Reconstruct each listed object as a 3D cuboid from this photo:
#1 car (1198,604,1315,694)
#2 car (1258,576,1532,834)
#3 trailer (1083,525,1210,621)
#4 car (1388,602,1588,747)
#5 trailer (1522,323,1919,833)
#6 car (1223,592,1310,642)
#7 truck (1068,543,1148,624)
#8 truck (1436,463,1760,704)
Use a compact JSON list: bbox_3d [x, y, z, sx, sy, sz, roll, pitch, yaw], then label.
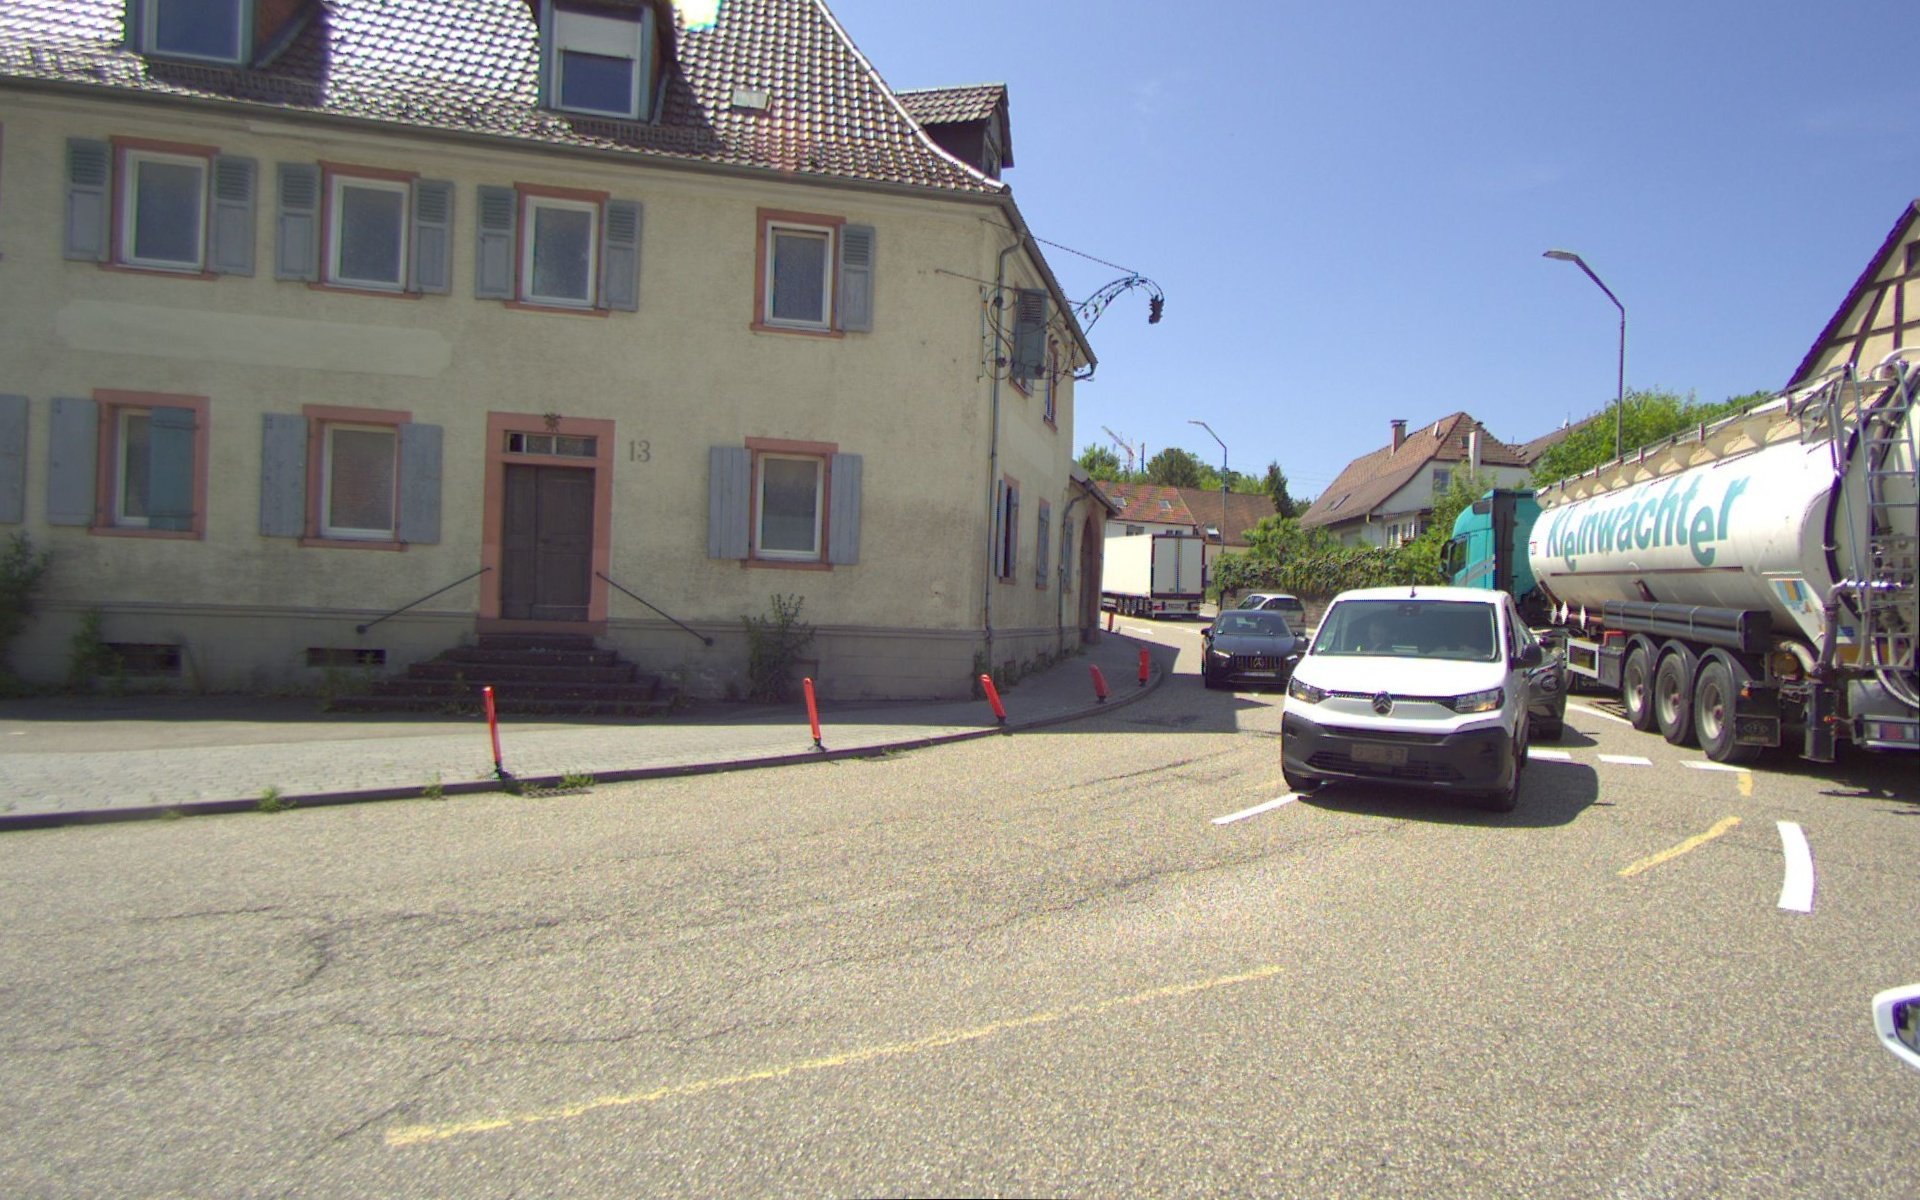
[{"bbox_3d":[5.621,0.852,19.442,1.805,1.461,4.002,1,1,12],"label":"car"},{"bbox_3d":[4.336,0.751,9.549,1.846,1.809,4.513,2,0,30],"label":"car"},{"bbox_3d":[9.396,-1.307,52.605,3.083,4.334,12.483,2,0,-5],"label":"trailer"},{"bbox_3d":[6.994,0.857,13.718,1.762,1.544,4.000,3,1,19],"label":"car"},{"bbox_3d":[10.236,-0.144,13.083,2.904,4.001,11.618,3,1,19],"label":"trailer"},{"bbox_3d":[10.907,0.582,36.005,1.754,1.606,3.604,3,0,-4],"label":"car"},{"bbox_3d":[8.701,-0.998,59.897,3.057,4.460,5.928,3,1,-7],"label":"truck"},{"bbox_3d":[12.258,-0.322,20.045,2.937,4.018,5.580,2,1,3],"label":"truck"}]
